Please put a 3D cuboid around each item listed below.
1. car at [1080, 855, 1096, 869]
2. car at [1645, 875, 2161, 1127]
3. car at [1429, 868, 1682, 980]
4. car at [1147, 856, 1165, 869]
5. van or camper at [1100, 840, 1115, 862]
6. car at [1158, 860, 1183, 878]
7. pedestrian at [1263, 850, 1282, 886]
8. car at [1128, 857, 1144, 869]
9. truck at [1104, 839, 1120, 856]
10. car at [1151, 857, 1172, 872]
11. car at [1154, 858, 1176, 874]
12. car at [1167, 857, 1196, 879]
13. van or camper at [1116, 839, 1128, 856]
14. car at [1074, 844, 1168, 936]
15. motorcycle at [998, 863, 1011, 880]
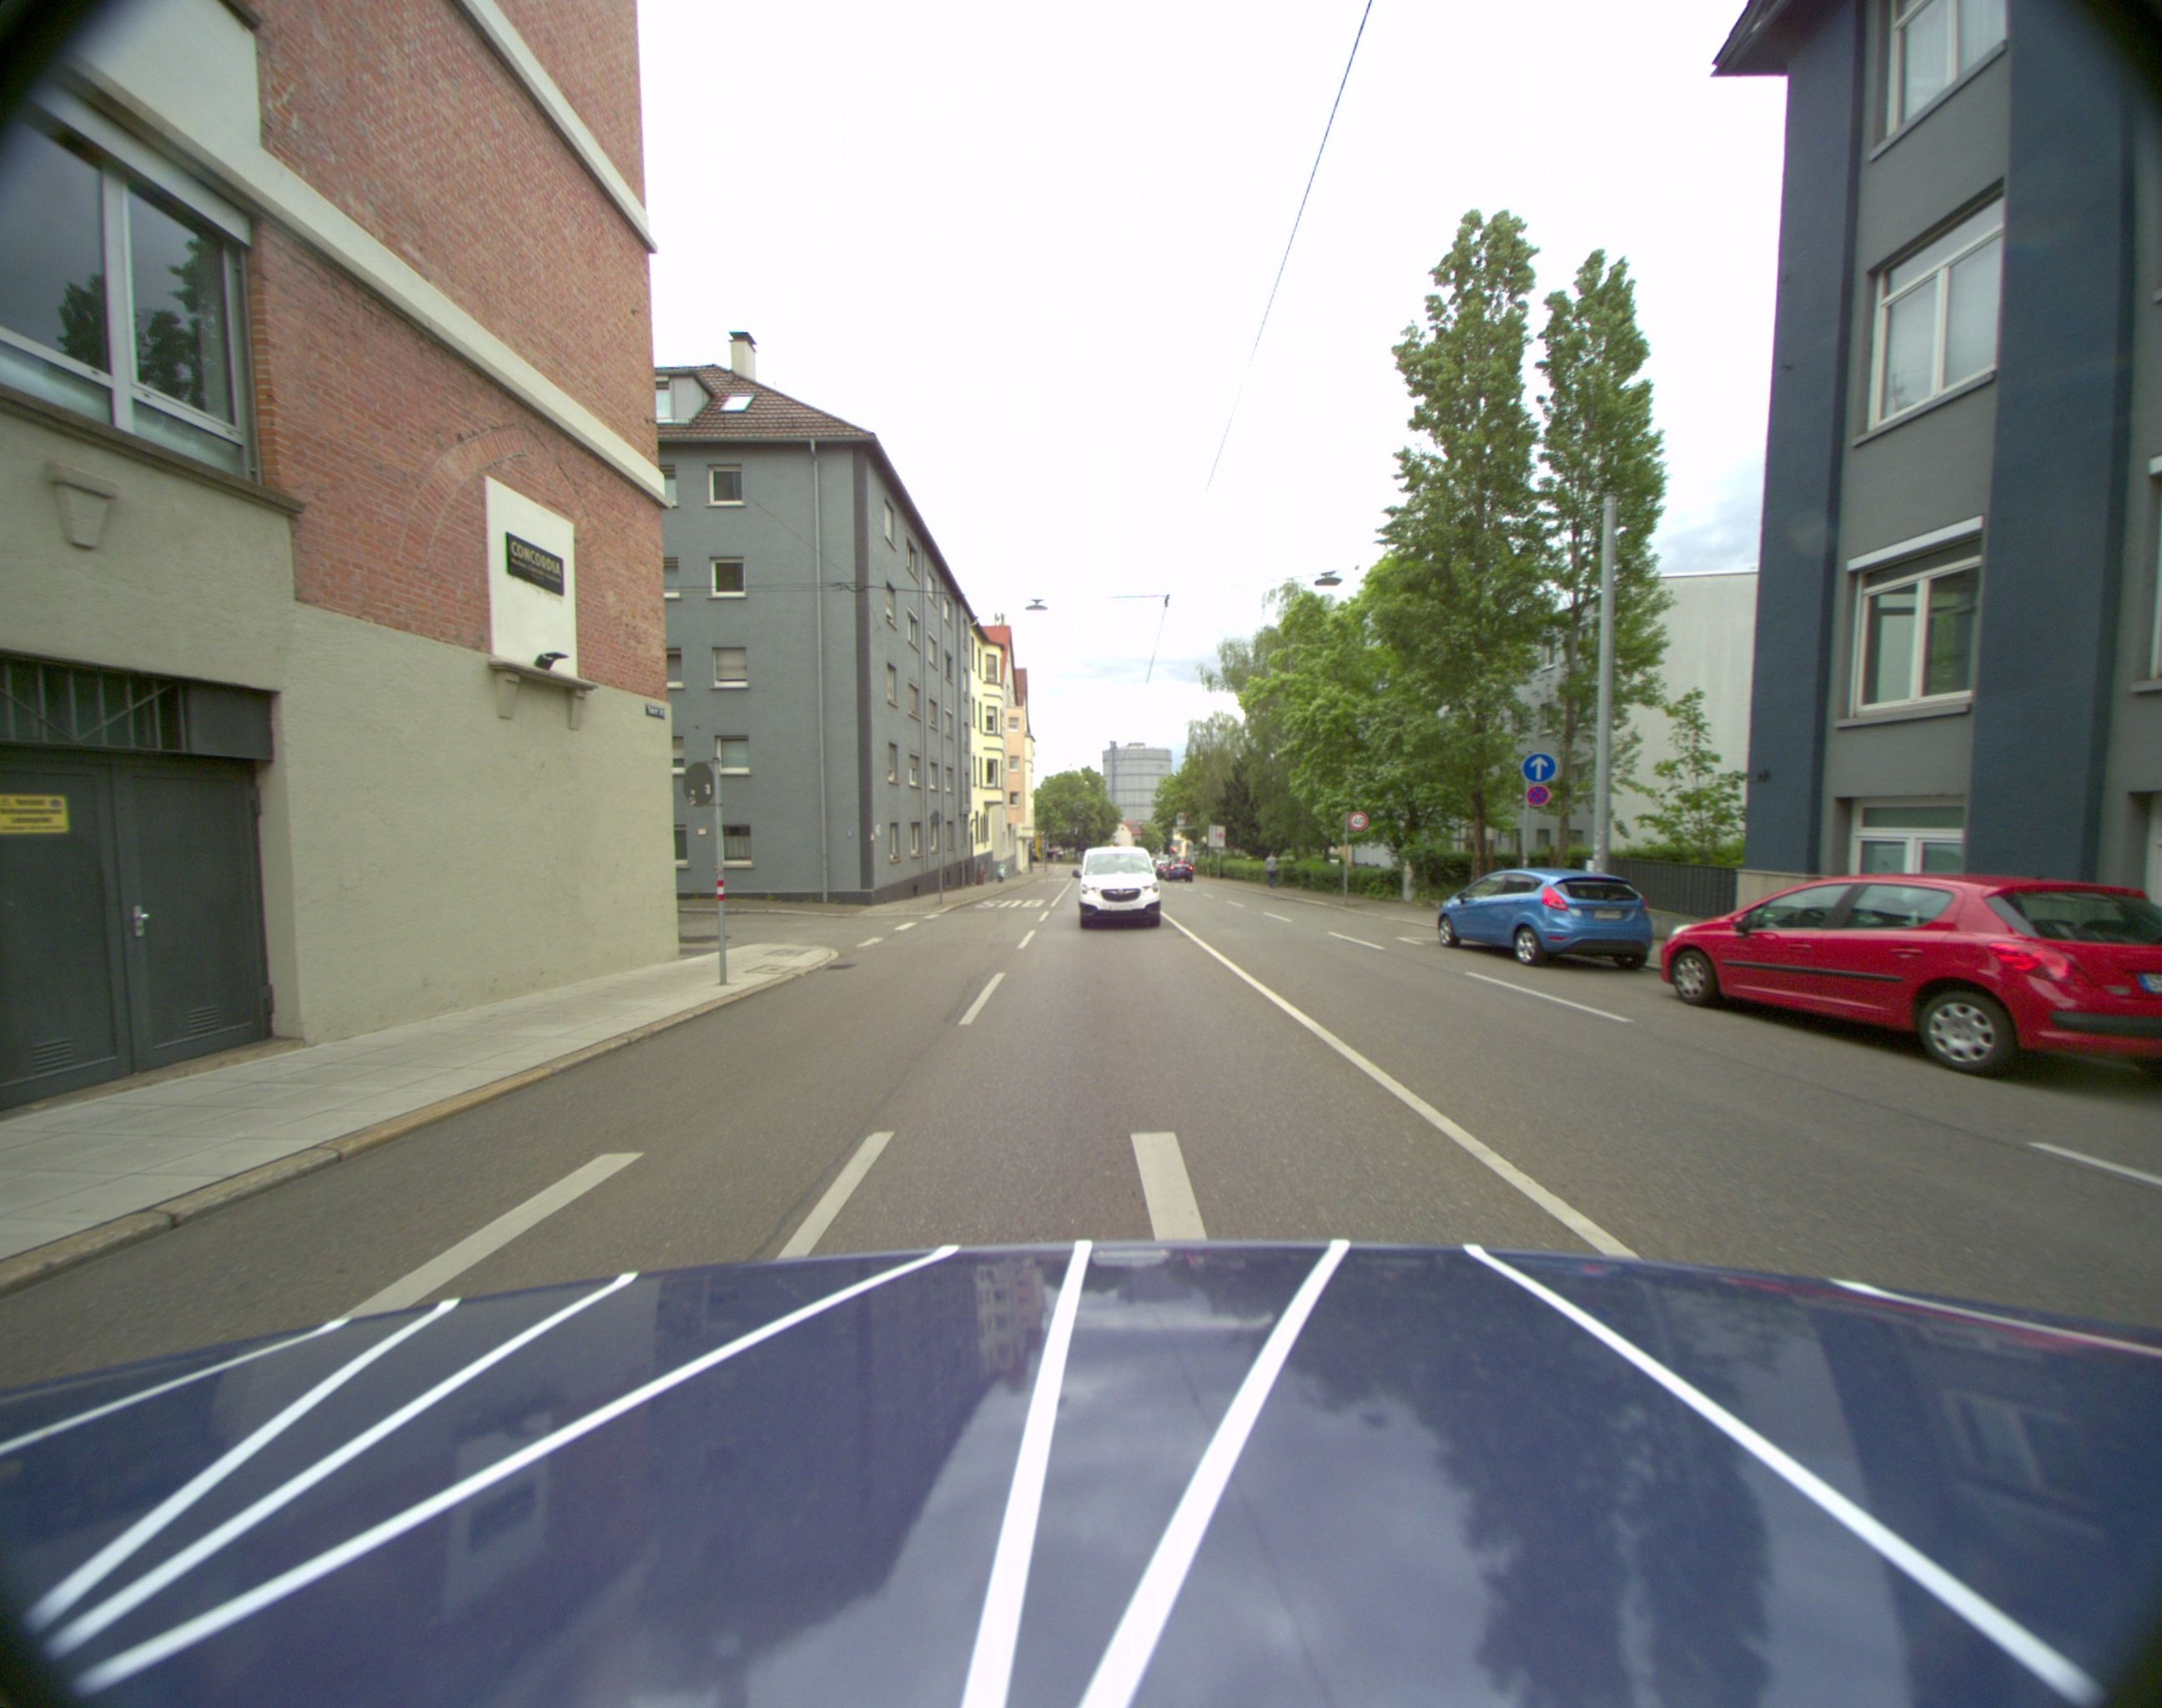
[{"bbox_3d":[0.814,0.895,86.632,1.724,1.486,3.727,1,0,2],"label":"car"},{"bbox_3d":[7.308,1.006,6.713,1.819,1.465,3.869,2,0,2],"label":"car"},{"bbox_3d":[7.345,0.992,12.260,1.724,1.445,3.727,1,0,0],"label":"car"},{"bbox_3d":[8.115,0.892,82.391,1.724,1.408,3.727,1,0,2],"label":"car"},{"bbox_3d":[3.627,-0.387,102.289,1.914,2.754,5.925,1,0,2],"label":"van or camper"},{"bbox_3d":[7.394,1.191,62.708,1.724,1.408,3.727,1,0,2],"label":"car"},{"bbox_3d":[9.930,0.738,39.398,0.746,1.839,0.776,-1,1,2],"label":"pedestrian"},{"bbox_3d":[6.488,1.059,89.796,1.724,1.408,3.727,1,0,2],"label":"car"},{"bbox_3d":[6.527,-1.398,161.483,2.980,3.394,9.358,-2,0,1],"label":"truck"},{"bbox_3d":[8.003,1.070,75.742,1.724,1.408,3.727,1,0,2],"label":"car"},{"bbox_3d":[7.669,1.063,69.879,1.724,1.408,3.727,1,0,2],"label":"car"},{"bbox_3d":[7.214,0.959,54.851,1.724,1.475,3.727,1,0,2],"label":"car"},{"bbox_3d":[7.144,-1.140,132.020,1.914,2.754,5.925,1,0,2],"label":"van or camper"},{"bbox_3d":[0.857,0.731,17.770,1.840,1.797,4.939,-2,0,1],"label":"car"},{"bbox_3d":[-5.106,1.171,50.851,0.566,1.105,1.653,4,0,2],"label":"motorcycle"}]
